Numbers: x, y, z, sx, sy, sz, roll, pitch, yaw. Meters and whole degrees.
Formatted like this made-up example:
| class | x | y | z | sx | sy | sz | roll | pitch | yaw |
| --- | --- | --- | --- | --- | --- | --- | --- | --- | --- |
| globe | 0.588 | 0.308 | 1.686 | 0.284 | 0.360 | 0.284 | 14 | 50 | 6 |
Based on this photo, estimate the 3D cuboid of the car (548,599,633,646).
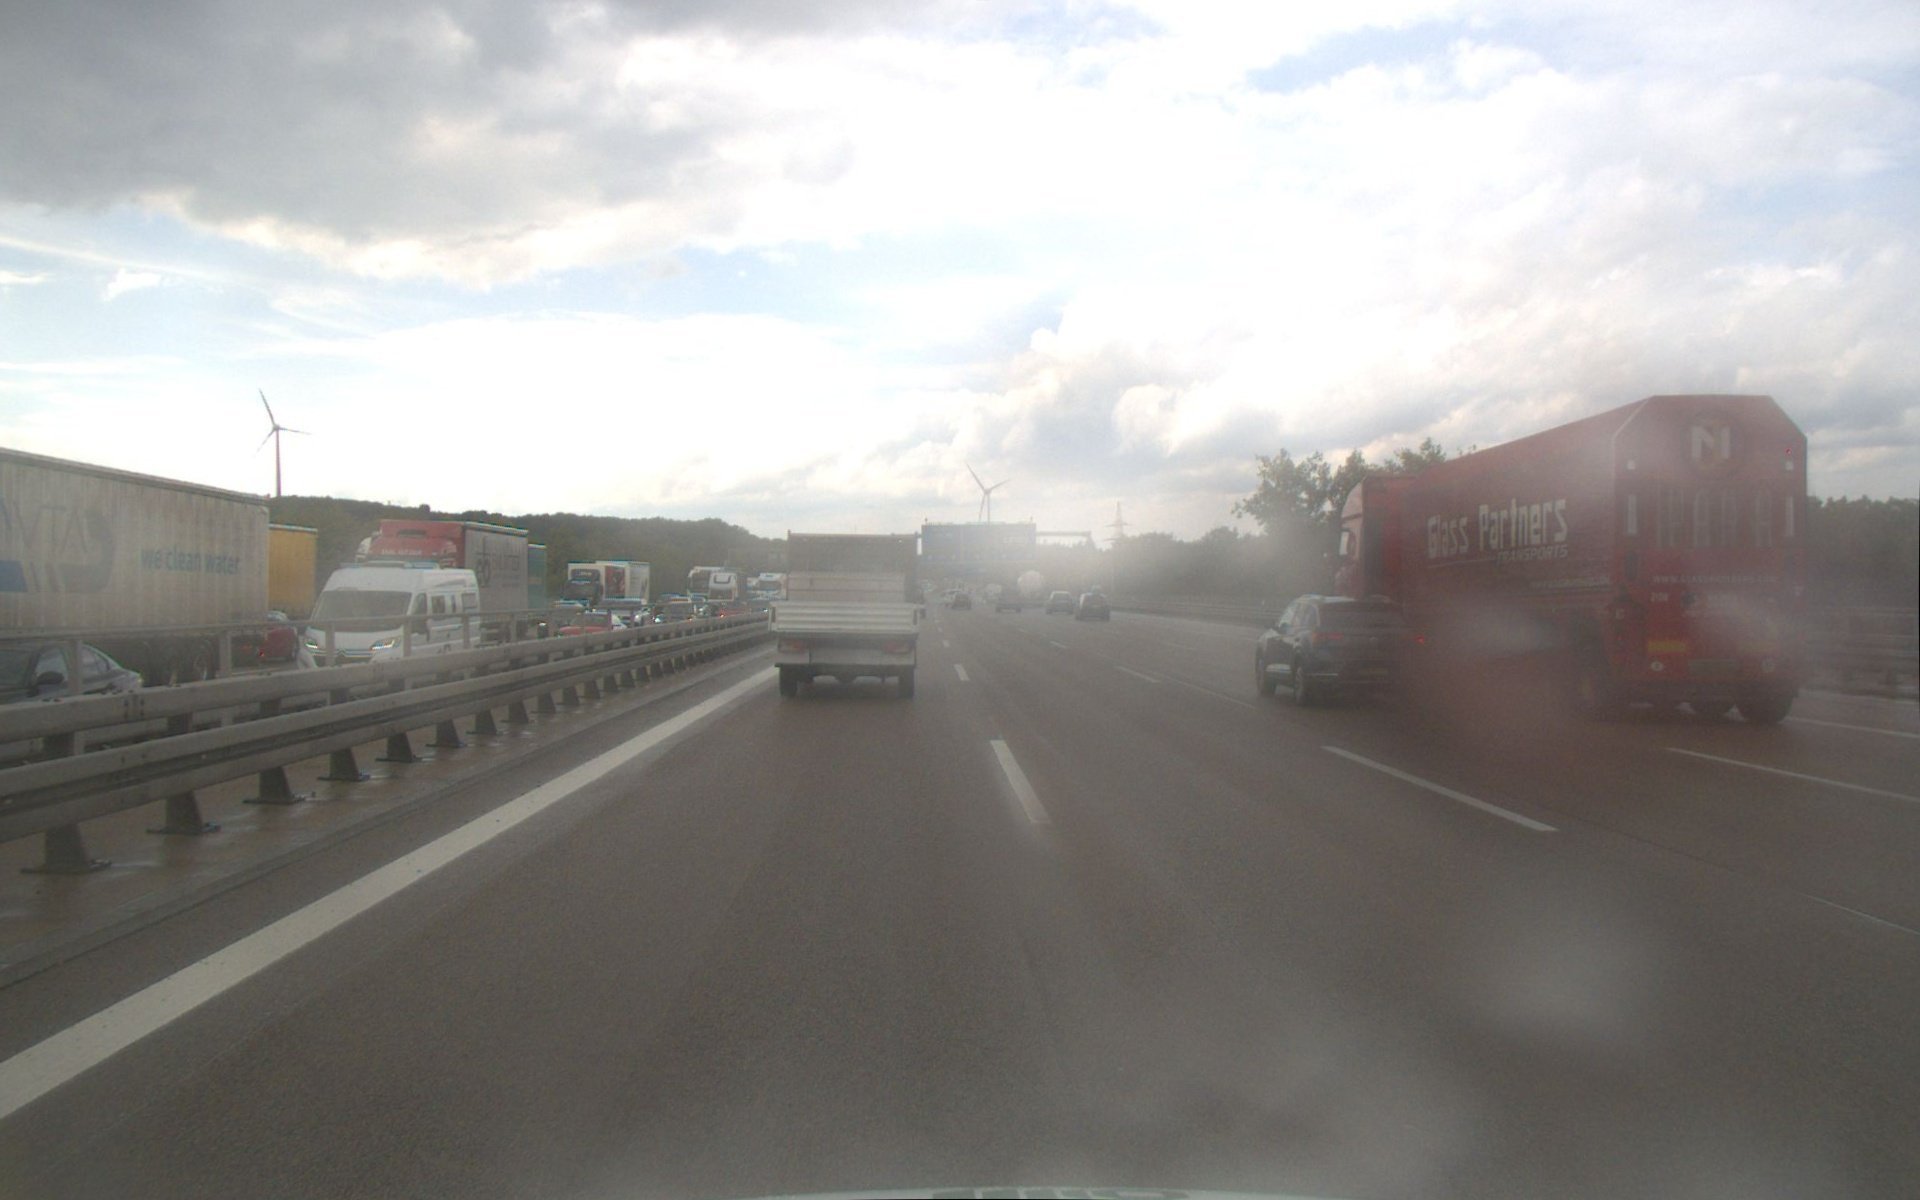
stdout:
| class | x | y | z | sx | sy | sz | roll | pitch | yaw |
| --- | --- | --- | --- | --- | --- | --- | --- | --- | --- |
| car | -12.309 | 0.713 | 55.393 | 1.884 | 1.443 | 5.010 | -1 | 0 | -2 |

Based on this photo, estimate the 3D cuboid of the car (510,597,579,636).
| class | x | y | z | sx | sy | sz | roll | pitch | yaw |
| --- | --- | --- | --- | --- | --- | --- | --- | --- | --- |
| car | -16.754 | 0.655 | 66.840 | 1.794 | 1.477 | 4.000 | -1 | 0 | -1 |

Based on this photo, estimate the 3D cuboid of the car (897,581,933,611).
| class | x | y | z | sx | sy | sz | roll | pitch | yaw |
| --- | --- | --- | --- | --- | --- | --- | --- | --- | --- |
| car | -2.608 | -0.261 | 97.002 | 2.003 | 1.729 | 4.000 | 0 | 1 | 0 |

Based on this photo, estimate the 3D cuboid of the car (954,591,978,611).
| class | x | y | z | sx | sy | sz | roll | pitch | yaw |
| --- | --- | --- | --- | --- | --- | --- | --- | --- | --- |
| car | 0.488 | 0.036 | 147.379 | 2.004 | 1.729 | 3.999 | 0 | 1 | -2 |

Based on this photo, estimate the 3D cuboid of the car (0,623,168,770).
| class | x | y | z | sx | sy | sz | roll | pitch | yaw |
| --- | --- | --- | --- | --- | --- | --- | --- | --- | --- |
| car | -10.970 | 1.047 | 18.483 | 1.884 | 1.443 | 5.163 | -1 | 0 | -2 |

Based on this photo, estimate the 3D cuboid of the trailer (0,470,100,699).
| class | x | y | z | sx | sy | sz | roll | pitch | yaw |
| --- | --- | --- | --- | --- | --- | --- | --- | --- | --- |
| trailer | -19.062 | -0.252 | 27.397 | 2.821 | 4.218 | 13.028 | -1 | 0 | 0 |

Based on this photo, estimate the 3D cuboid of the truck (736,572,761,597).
| class | x | y | z | sx | sy | sz | roll | pitch | yaw |
| --- | --- | --- | --- | --- | --- | --- | --- | --- | --- |
| truck | -26.491 | -1.888 | 207.459 | 2.466 | 3.038 | 7.019 | -1 | 0 | -2 |

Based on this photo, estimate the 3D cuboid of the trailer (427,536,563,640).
| class | x | y | z | sx | sy | sz | roll | pitch | yaw |
| --- | --- | --- | --- | --- | --- | --- | --- | --- | --- |
| trailer | -20.005 | -0.502 | 72.019 | 2.761 | 4.132 | 11.600 | 1 | 0 | -1 |

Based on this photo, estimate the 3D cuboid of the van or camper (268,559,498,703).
| class | x | y | z | sx | sy | sz | roll | pitch | yaw |
| --- | --- | --- | --- | --- | --- | --- | --- | --- | --- |
| van or camper | -11.280 | 0.533 | 33.092 | 2.232 | 2.539 | 7.300 | -1 | 0 | -2 |

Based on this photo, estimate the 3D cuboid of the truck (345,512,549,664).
| class | x | y | z | sx | sy | sz | roll | pitch | yaw |
| --- | --- | --- | --- | --- | --- | --- | --- | --- | --- |
| truck | -15.896 | -0.376 | 52.553 | 2.924 | 4.221 | 12.518 | -1 | 0 | -2 |

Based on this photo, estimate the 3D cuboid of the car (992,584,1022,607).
| class | x | y | z | sx | sy | sz | roll | pitch | yaw |
| --- | --- | --- | --- | --- | --- | --- | --- | --- | --- |
| car | 3.679 | -0.383 | 129.958 | 2.056 | 1.729 | 3.997 | 0 | 1 | -3 |

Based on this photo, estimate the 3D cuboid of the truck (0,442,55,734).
| class | x | y | z | sx | sy | sz | roll | pitch | yaw |
| --- | --- | --- | --- | --- | --- | --- | --- | --- | --- |
| truck | -15.321 | -0.150 | 21.756 | 2.822 | 4.253 | 7.554 | -1 | 0 | -2 |

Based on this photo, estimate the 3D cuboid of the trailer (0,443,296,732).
| class | x | y | z | sx | sy | sz | roll | pitch | yaw |
| --- | --- | --- | --- | --- | --- | --- | --- | --- | --- |
| trailer | -15.553 | -0.202 | 29.146 | 2.822 | 4.218 | 13.023 | -1 | 0 | -2 |

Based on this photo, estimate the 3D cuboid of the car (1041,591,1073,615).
| class | x | y | z | sx | sy | sz | roll | pitch | yaw |
| --- | --- | --- | --- | --- | --- | --- | --- | --- | --- |
| car | 7.074 | 0.212 | 121.127 | 2.003 | 1.729 | 5.006 | 0 | 1 | -1 |

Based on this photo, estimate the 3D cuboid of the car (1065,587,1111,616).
| class | x | y | z | sx | sy | sz | roll | pitch | yaw |
| --- | --- | --- | --- | --- | --- | --- | --- | --- | --- |
| car | 7.485 | 0.089 | 97.283 | 2.063 | 1.633 | 5.062 | 0 | 1 | -3 |

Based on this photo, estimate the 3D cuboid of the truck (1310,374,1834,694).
| class | x | y | z | sx | sy | sz | roll | pitch | yaw |
| --- | --- | --- | --- | --- | --- | --- | --- | --- | --- |
| truck | 9.482 | -0.920 | 28.947 | 3.088 | 4.073 | 15.633 | 0 | 1 | -1 |

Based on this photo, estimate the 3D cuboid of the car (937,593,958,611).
| class | x | y | z | sx | sy | sz | roll | pitch | yaw |
| --- | --- | --- | --- | --- | --- | --- | --- | --- | --- |
| car | -1.274 | 0.147 | 164.186 | 1.933 | 1.729 | 3.997 | 0 | 1 | -3 |

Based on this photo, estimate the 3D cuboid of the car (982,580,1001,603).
| class | x | y | z | sx | sy | sz | roll | pitch | yaw |
| --- | --- | --- | --- | --- | --- | --- | --- | --- | --- |
| car | 3.541 | -1.000 | 187.081 | 2.003 | 2.541 | 4.000 | 0 | 1 | 0 |

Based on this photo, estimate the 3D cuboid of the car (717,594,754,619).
| class | x | y | z | sx | sy | sz | roll | pitch | yaw |
| --- | --- | --- | --- | --- | --- | --- | --- | --- | --- |
| car | -13.011 | 0.348 | 96.042 | 1.541 | 1.377 | 4.384 | -1 | 0 | -1 |

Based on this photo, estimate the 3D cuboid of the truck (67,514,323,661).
| class | x | y | z | sx | sy | sz | roll | pitch | yaw |
| --- | --- | --- | --- | --- | --- | --- | --- | --- | --- |
| truck | -23.455 | -0.382 | 51.671 | 2.665 | 4.051 | 11.692 | 0 | 0 | -1 |

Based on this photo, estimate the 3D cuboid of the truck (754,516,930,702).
| class | x | y | z | sx | sy | sz | roll | pitch | yaw |
| --- | --- | --- | --- | --- | --- | --- | --- | --- | --- |
| truck | -1.786 | 0.087 | 25.726 | 2.306 | 2.450 | 7.353 | 1 | 1 | -3 |

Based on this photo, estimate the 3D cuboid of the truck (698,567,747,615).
| class | x | y | z | sx | sy | sz | roll | pitch | yaw |
| --- | --- | --- | --- | --- | --- | --- | --- | --- | --- |
| truck | -17.591 | -0.689 | 123.061 | 2.468 | 3.458 | 8.539 | -1 | 0 | -1 |

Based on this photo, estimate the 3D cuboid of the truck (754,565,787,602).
| class | x | y | z | sx | sy | sz | roll | pitch | yaw |
| --- | --- | --- | --- | --- | --- | --- | --- | --- | --- |
| truck | -22.024 | -1.929 | 192.836 | 3.113 | 4.267 | 7.736 | 0 | 1 | -1 |

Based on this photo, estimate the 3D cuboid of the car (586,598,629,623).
| class | x | y | z | sx | sy | sz | roll | pitch | yaw |
| --- | --- | --- | --- | --- | --- | --- | --- | --- | --- |
| car | -20.525 | 0.605 | 96.501 | 1.634 | 1.377 | 4.217 | -1 | 0 | -1 |

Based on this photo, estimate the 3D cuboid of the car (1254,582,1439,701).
| class | x | y | z | sx | sy | sz | roll | pitch | yaw |
| --- | --- | --- | --- | --- | --- | --- | --- | --- | --- |
| car | 5.552 | 0.561 | 24.199 | 1.756 | 1.589 | 3.721 | 1 | 0 | -1 |

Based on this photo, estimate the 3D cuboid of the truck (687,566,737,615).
| class | x | y | z | sx | sy | sz | roll | pitch | yaw |
| --- | --- | --- | --- | --- | --- | --- | --- | --- | --- |
| truck | -20.961 | -0.790 | 140.290 | 3.134 | 4.002 | 7.573 | 1 | 0 | -1 |

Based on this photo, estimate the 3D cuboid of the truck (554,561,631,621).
| class | x | y | z | sx | sy | sz | roll | pitch | yaw |
| --- | --- | --- | --- | --- | --- | --- | --- | --- | --- |
| truck | -25.599 | -0.640 | 115.751 | 3.160 | 3.978 | 10.280 | 1 | 0 | -1 |

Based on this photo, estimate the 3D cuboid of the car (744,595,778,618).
| class | x | y | z | sx | sy | sz | roll | pitch | yaw |
| --- | --- | --- | --- | --- | --- | --- | --- | --- | --- |
| car | -13.644 | 0.441 | 113.697 | 1.684 | 1.529 | 5.502 | -1 | 0 | -1 |

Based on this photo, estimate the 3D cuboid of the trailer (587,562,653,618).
| class | x | y | z | sx | sy | sz | roll | pitch | yaw |
| --- | --- | --- | --- | --- | --- | --- | --- | --- | --- |
| trailer | -25.673 | -0.763 | 125.308 | 3.153 | 4.028 | 8.849 | 1 | 0 | -1 |

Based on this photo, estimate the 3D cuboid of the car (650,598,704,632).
| class | x | y | z | sx | sy | sz | roll | pitch | yaw |
| --- | --- | --- | --- | --- | --- | --- | --- | --- | --- |
| car | -12.804 | 0.673 | 75.055 | 1.794 | 1.477 | 4.000 | -1 | 0 | -1 |

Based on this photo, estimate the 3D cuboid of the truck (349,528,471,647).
| class | x | y | z | sx | sy | sz | roll | pitch | yaw |
| --- | --- | --- | --- | --- | --- | --- | --- | --- | --- |
| truck | -19.798 | -0.454 | 59.826 | 2.787 | 4.099 | 4.962 | 1 | 0 | -1 |

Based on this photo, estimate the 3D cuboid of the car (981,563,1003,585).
| class | x | y | z | sx | sy | sz | roll | pitch | yaw |
| --- | --- | --- | --- | --- | --- | --- | --- | --- | --- |
| car | 3.008 | -2.437 | 155.582 | 1.953 | 1.930 | 4.191 | 1 | 0 | -1 |

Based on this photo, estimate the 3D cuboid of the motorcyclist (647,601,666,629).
| class | x | y | z | sx | sy | sz | roll | pitch | yaw |
| --- | --- | --- | --- | --- | --- | --- | --- | --- | --- |
| motorcyclist | -14.677 | 0.717 | 79.920 | 0.713 | 1.365 | 1.030 | -1 | 0 | -1 |

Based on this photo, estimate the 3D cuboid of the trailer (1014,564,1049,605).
| class | x | y | z | sx | sy | sz | roll | pitch | yaw |
| --- | --- | --- | --- | --- | --- | --- | --- | --- | --- |
| trailer | 7.652 | -1.698 | 179.408 | 3.264 | 4.248 | 11.838 | 1 | 0 | 0 |

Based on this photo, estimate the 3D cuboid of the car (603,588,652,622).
| class | x | y | z | sx | sy | sz | roll | pitch | yaw |
| --- | --- | --- | --- | --- | --- | --- | --- | --- | --- |
| car | -16.681 | 0.245 | 83.123 | 1.728 | 1.653 | 4.777 | -1 | 0 | -3 |
